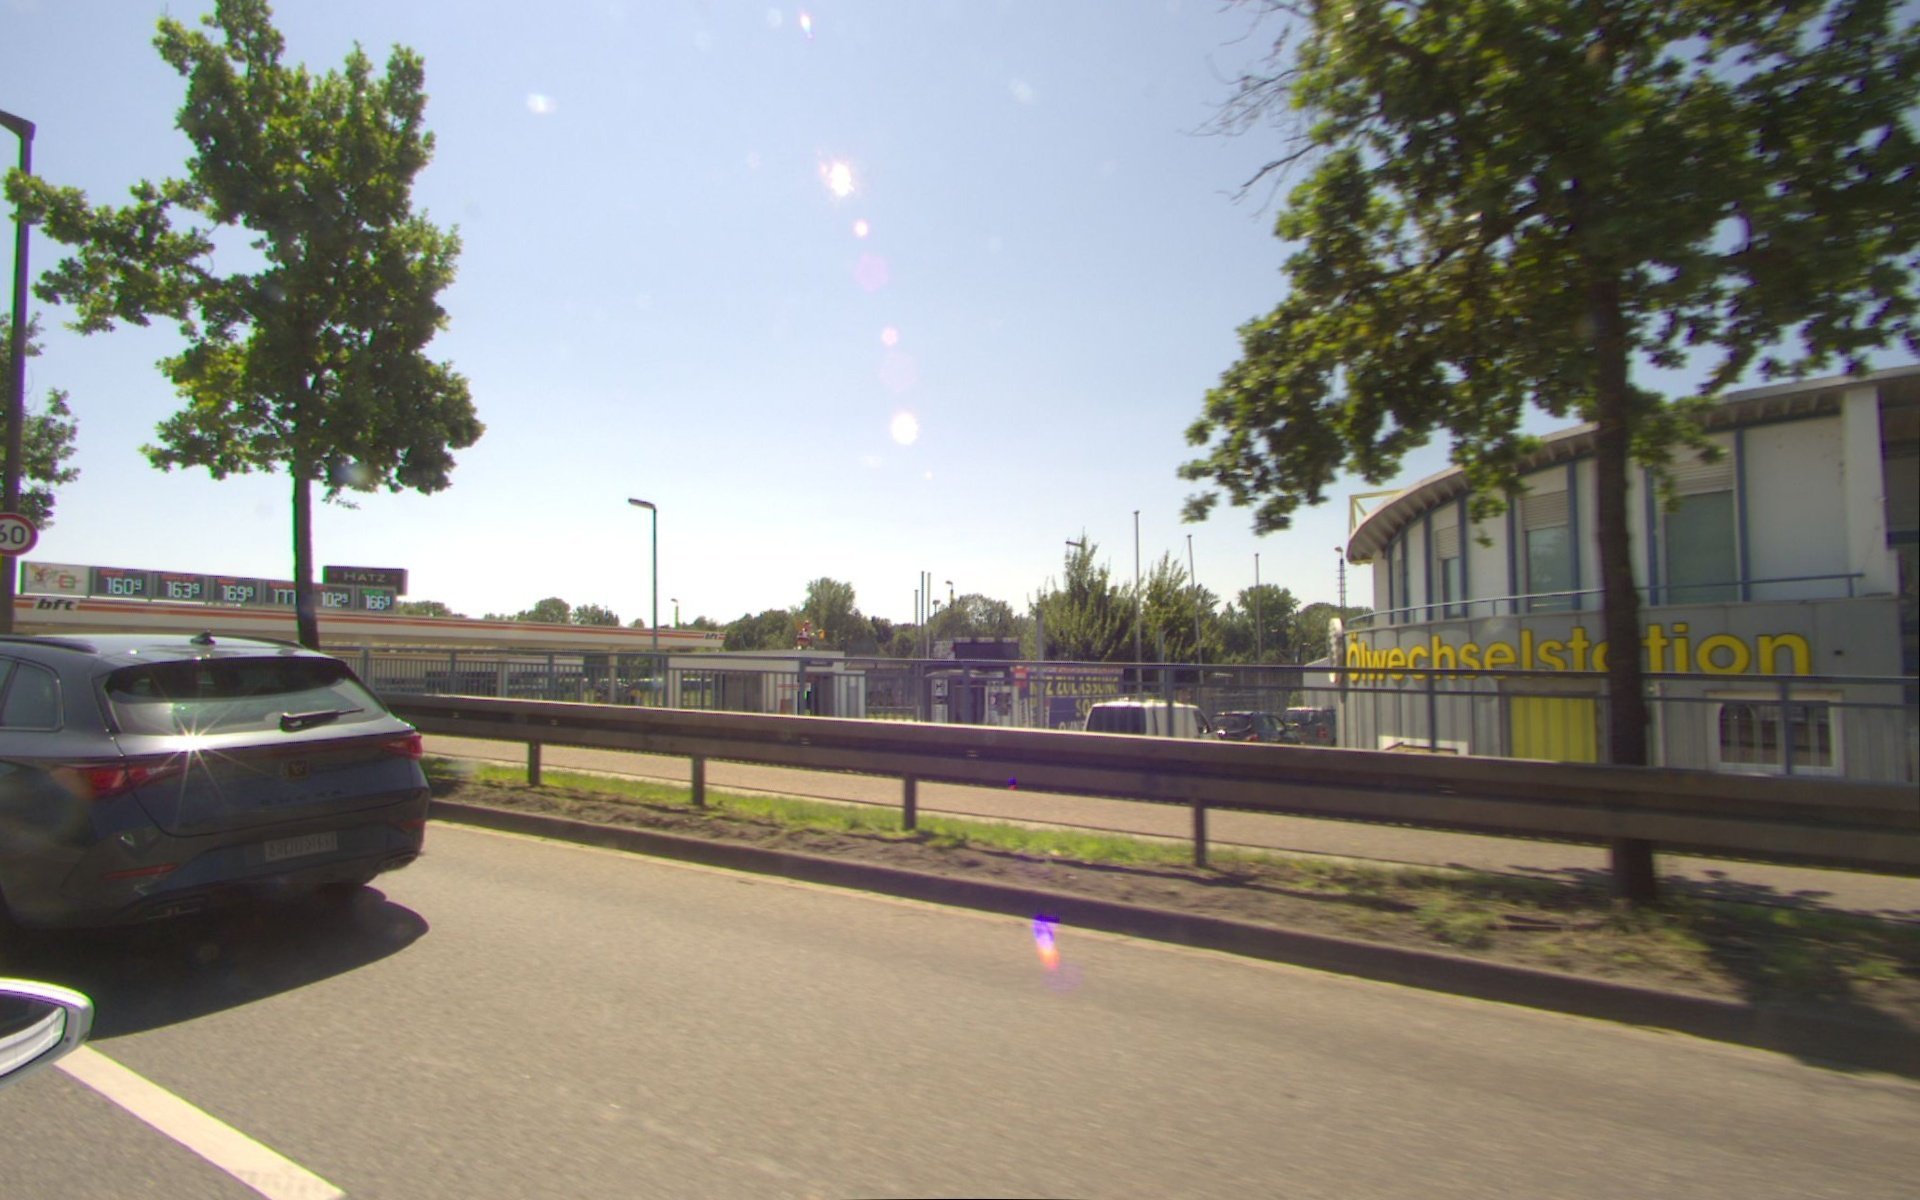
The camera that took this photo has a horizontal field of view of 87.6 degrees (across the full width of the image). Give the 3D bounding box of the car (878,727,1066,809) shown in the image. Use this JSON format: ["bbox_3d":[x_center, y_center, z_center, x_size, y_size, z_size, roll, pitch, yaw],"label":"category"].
[{"bbox_3d":[0.205,3.019,18.160,3.253,1.324,1.466,0,-3,0],"label":"car"}]

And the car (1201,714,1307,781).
[{"bbox_3d":[8.149,3.975,27.554,1.453,1.492,4.122,-3,-4,36],"label":"car"}]

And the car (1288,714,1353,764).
[{"bbox_3d":[11.462,4.387,31.794,1.208,1.366,2.697,-3,-4,36],"label":"car"}]

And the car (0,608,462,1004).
[{"bbox_3d":[-4.789,0.887,5.473,4.171,1.473,1.604,-2,-4,29],"label":"car"}]

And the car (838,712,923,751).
[{"bbox_3d":[-2.511,4.119,31.497,2.523,1.091,1.105,-2,-4,31],"label":"car"}]

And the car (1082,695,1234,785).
[{"bbox_3d":[4.578,3.056,22.631,1.576,1.680,4.582,-3,-4,36],"label":"car"}]
